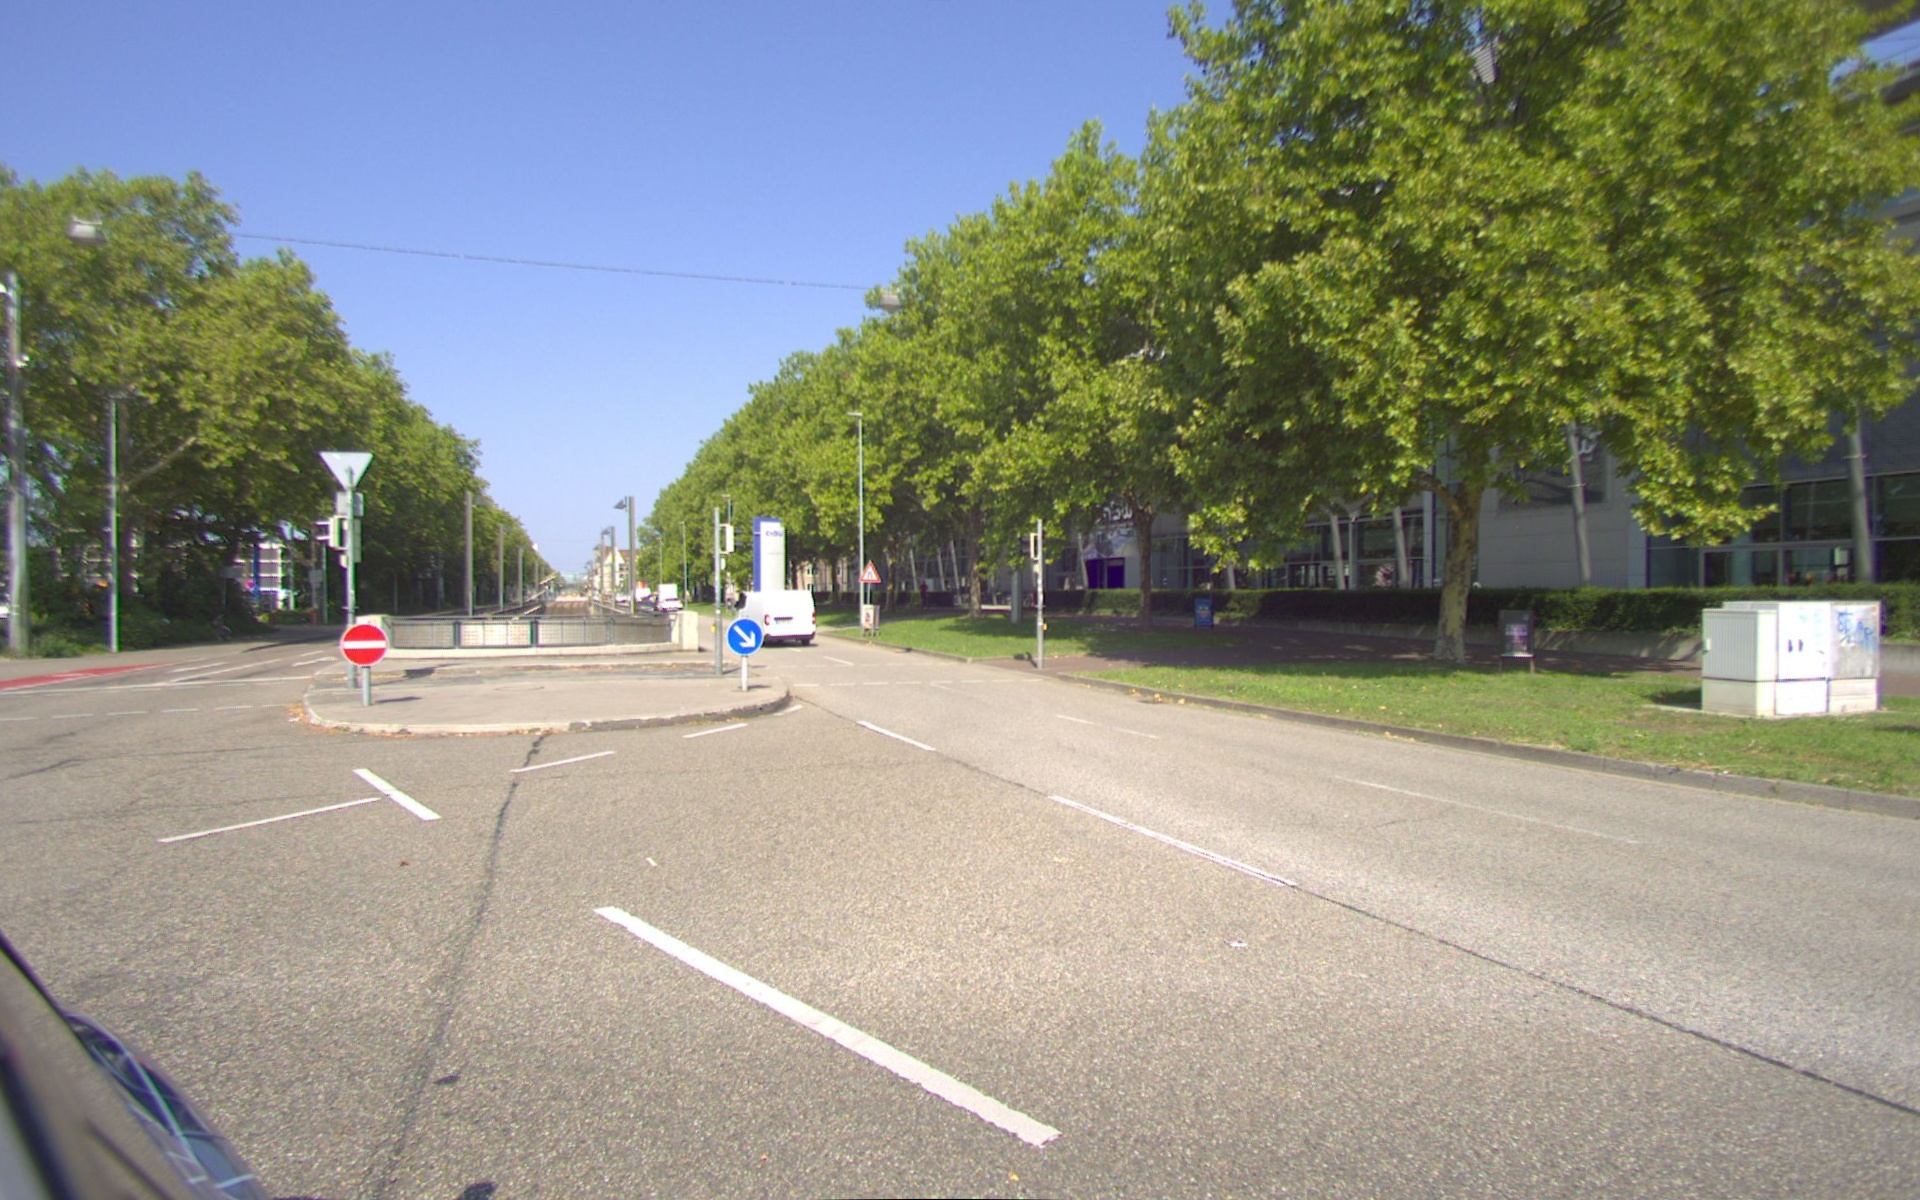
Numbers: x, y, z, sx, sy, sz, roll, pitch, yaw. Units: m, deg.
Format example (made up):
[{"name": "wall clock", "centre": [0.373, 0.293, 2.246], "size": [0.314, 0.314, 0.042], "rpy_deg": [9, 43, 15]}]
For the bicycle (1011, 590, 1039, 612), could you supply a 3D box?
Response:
[{"name": "bicycle", "centre": [5.022, 0.089, 78.068], "size": [2.133, 1.566, 0.602], "rpy_deg": [-3, 1, -28]}]

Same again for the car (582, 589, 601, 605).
[{"name": "car", "centre": [-51.608, -0.439, 141.533], "size": [1.966, 2.028, 4.013], "rpy_deg": [-3, 1, -27]}]

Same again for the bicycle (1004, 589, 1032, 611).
[{"name": "bicycle", "centre": [4.536, -0.009, 79.006], "size": [2.133, 1.566, 0.602], "rpy_deg": [-3, 1, -28]}]

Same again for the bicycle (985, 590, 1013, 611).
[{"name": "bicycle", "centre": [3.164, 0.042, 81.748], "size": [2.133, 1.566, 0.602], "rpy_deg": [-3, 1, -28]}]

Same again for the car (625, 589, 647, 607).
[{"name": "car", "centre": [-41.474, -0.237, 129.412], "size": [2.253, 2.095, 4.671], "rpy_deg": [-3, 1, -22]}]

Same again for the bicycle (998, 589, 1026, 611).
[{"name": "bicycle", "centre": [4.113, 0.004, 80.069], "size": [2.133, 1.566, 0.602], "rpy_deg": [-3, 1, -28]}]

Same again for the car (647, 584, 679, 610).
[{"name": "car", "centre": [-27.489, -0.271, 93.494], "size": [2.253, 2.249, 4.671], "rpy_deg": [-3, 1, -22]}]

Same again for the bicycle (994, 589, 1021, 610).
[{"name": "bicycle", "centre": [3.786, -0.034, 80.698], "size": [2.133, 1.566, 0.602], "rpy_deg": [-3, 1, -28]}]

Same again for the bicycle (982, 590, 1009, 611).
[{"name": "bicycle", "centre": [2.903, 0.033, 82.357], "size": [2.133, 1.566, 0.602], "rpy_deg": [-3, 1, -28]}]

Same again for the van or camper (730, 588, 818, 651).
[{"name": "van or camper", "centre": [-6.555, 0.602, 35.194], "size": [1.815, 1.962, 4.964], "rpy_deg": [-1, 1, -25]}]

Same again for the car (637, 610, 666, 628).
[{"name": "car", "centre": [-24.074, 1.459, 78.933], "size": [1.633, 1.230, 3.907], "rpy_deg": [-3, 1, -24]}]

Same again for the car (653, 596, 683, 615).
[{"name": "car", "centre": [-25.613, 0.454, 88.733], "size": [1.966, 1.464, 4.013], "rpy_deg": [-3, 1, -22]}]

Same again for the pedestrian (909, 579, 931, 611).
[{"name": "pedestrian", "centre": [-2.587, -0.324, 65.690], "size": [0.933, 2.028, 1.353], "rpy_deg": [-3, 1, -20]}]
